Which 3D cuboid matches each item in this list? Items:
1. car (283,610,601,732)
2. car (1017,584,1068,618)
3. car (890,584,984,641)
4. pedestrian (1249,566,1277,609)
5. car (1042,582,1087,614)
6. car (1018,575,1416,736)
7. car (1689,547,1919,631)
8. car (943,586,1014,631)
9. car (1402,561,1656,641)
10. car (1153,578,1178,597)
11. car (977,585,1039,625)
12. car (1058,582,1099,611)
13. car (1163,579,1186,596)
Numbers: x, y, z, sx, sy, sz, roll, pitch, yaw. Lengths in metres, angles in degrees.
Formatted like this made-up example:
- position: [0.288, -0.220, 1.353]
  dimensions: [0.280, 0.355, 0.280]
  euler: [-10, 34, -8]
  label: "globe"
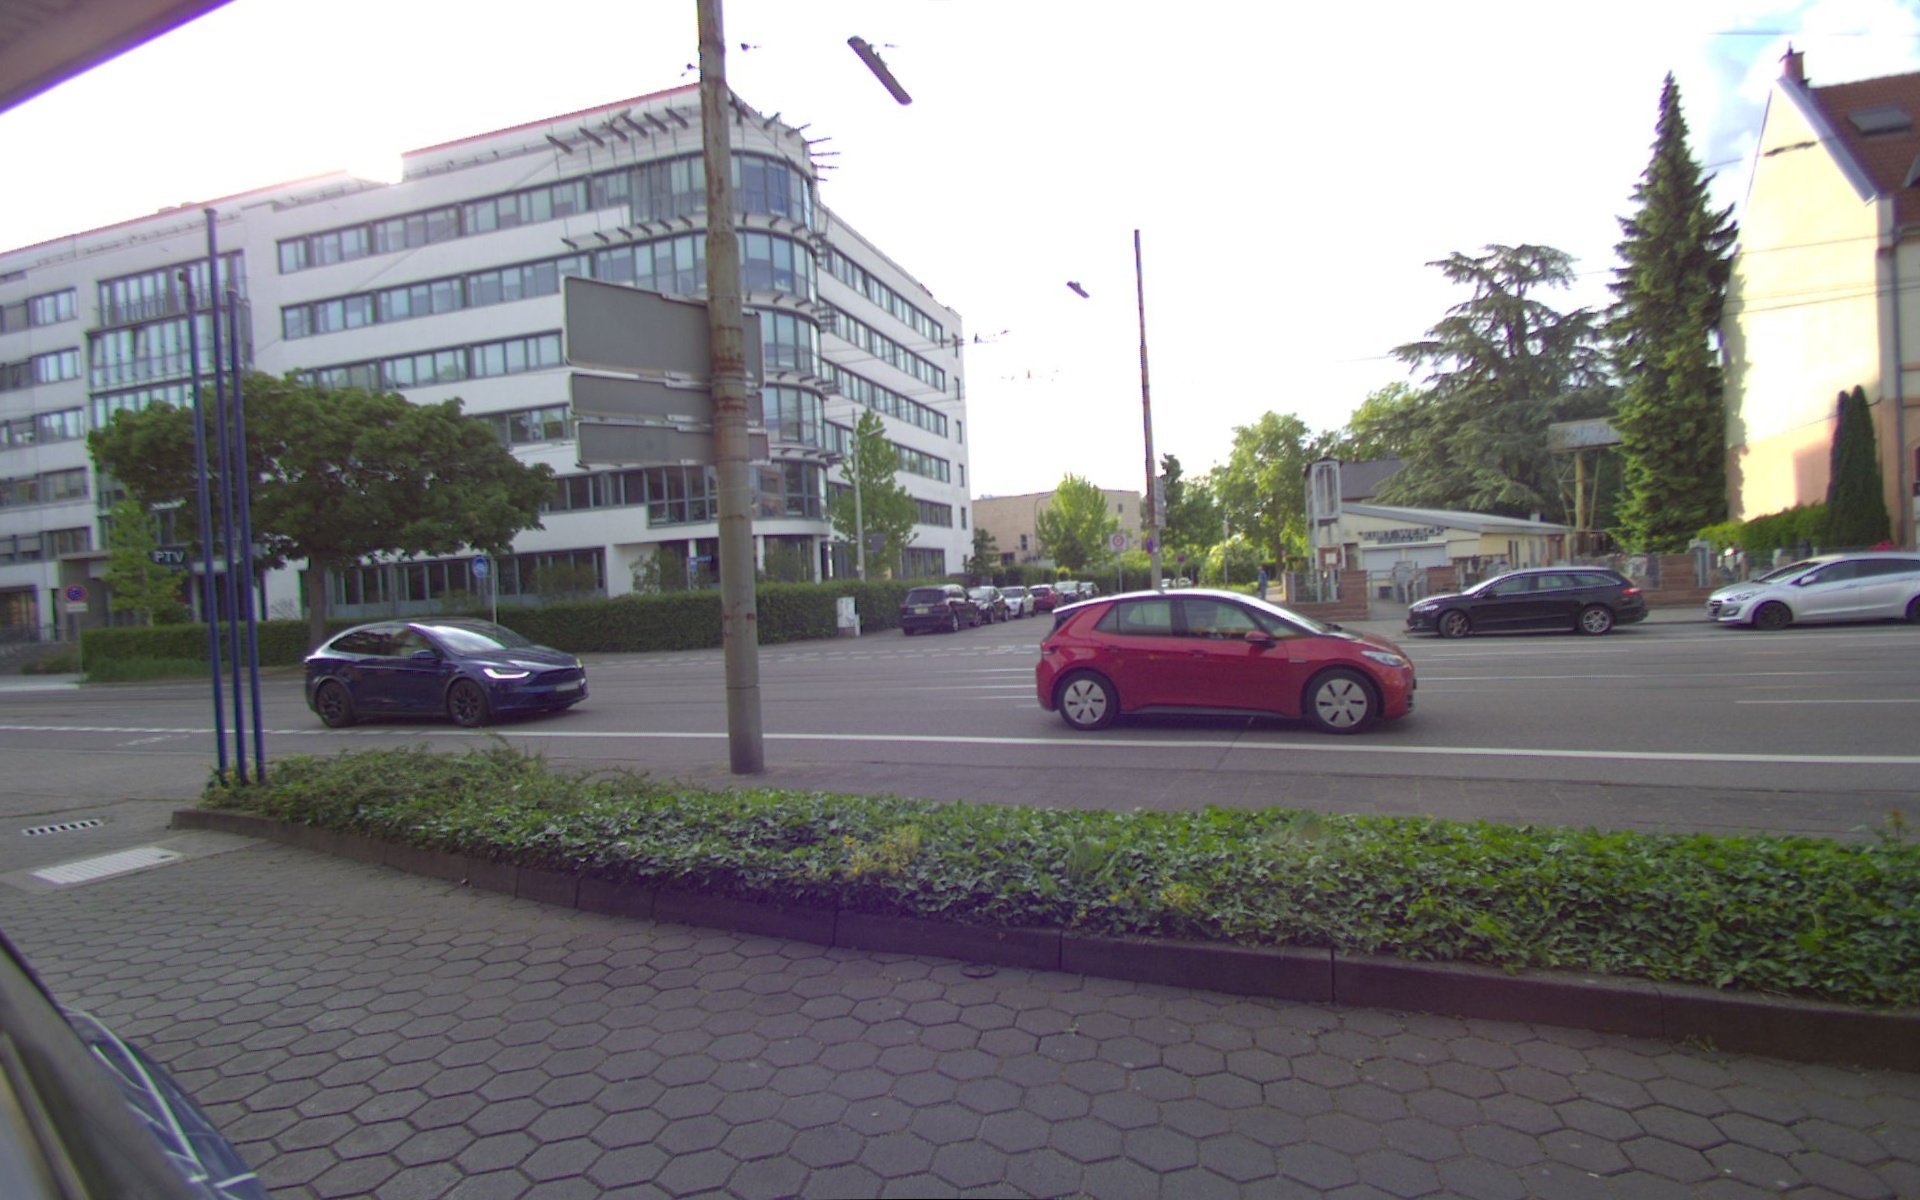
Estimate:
- position: [-8.347, 1.144, 16.303]
  dimensions: [4.817, 1.669, 1.758]
  euler: [-3, 2, 22]
  label: "car"
- position: [4.301, 0.029, 52.353]
  dimensions: [1.773, 1.552, 4.018]
  euler: [-4, 0, 17]
  label: "car"
- position: [-0.708, 0.385, 35.530]
  dimensions: [1.962, 1.625, 4.411]
  euler: [-4, 2, 17]
  label: "car"
- position: [13.092, -0.523, 43.724]
  dimensions: [1.000, 1.843, 1.083]
  euler: [-1, 0, 25]
  label: "pedestrian"
- position: [5.996, -0.129, 57.654]
  dimensions: [1.773, 1.653, 4.064]
  euler: [-4, 0, 17]
  label: "car"
- position: [2.920, 0.619, 11.648]
  dimensions: [4.104, 1.554, 1.757]
  euler: [-3, 2, 23]
  label: "car"
- position: [18.507, -0.256, 21.491]
  dimensions: [4.459, 1.486, 1.986]
  euler: [-4, 0, 22]
  label: "car"
- position: [0.812, 0.293, 40.887]
  dimensions: [1.773, 1.565, 4.083]
  euler: [-4, 0, 17]
  label: "car"
- position: [12.930, 0.045, 23.408]
  dimensions: [4.791, 1.507, 1.986]
  euler: [-4, 0, 22]
  label: "car"
- position: [20.440, -1.257, 100.607]
  dimensions: [1.774, 1.653, 4.060]
  euler: [-4, 0, 19]
  label: "car"
- position: [2.220, 0.181, 45.748]
  dimensions: [1.773, 1.565, 4.083]
  euler: [-4, 0, 17]
  label: "car"
- position: [7.387, -0.226, 62.665]
  dimensions: [1.773, 1.653, 4.064]
  euler: [-4, 0, 17]
  label: "car"
- position: [22.579, -1.284, 106.304]
  dimensions: [1.774, 1.653, 4.060]
  euler: [-4, 0, 19]
  label: "car"
